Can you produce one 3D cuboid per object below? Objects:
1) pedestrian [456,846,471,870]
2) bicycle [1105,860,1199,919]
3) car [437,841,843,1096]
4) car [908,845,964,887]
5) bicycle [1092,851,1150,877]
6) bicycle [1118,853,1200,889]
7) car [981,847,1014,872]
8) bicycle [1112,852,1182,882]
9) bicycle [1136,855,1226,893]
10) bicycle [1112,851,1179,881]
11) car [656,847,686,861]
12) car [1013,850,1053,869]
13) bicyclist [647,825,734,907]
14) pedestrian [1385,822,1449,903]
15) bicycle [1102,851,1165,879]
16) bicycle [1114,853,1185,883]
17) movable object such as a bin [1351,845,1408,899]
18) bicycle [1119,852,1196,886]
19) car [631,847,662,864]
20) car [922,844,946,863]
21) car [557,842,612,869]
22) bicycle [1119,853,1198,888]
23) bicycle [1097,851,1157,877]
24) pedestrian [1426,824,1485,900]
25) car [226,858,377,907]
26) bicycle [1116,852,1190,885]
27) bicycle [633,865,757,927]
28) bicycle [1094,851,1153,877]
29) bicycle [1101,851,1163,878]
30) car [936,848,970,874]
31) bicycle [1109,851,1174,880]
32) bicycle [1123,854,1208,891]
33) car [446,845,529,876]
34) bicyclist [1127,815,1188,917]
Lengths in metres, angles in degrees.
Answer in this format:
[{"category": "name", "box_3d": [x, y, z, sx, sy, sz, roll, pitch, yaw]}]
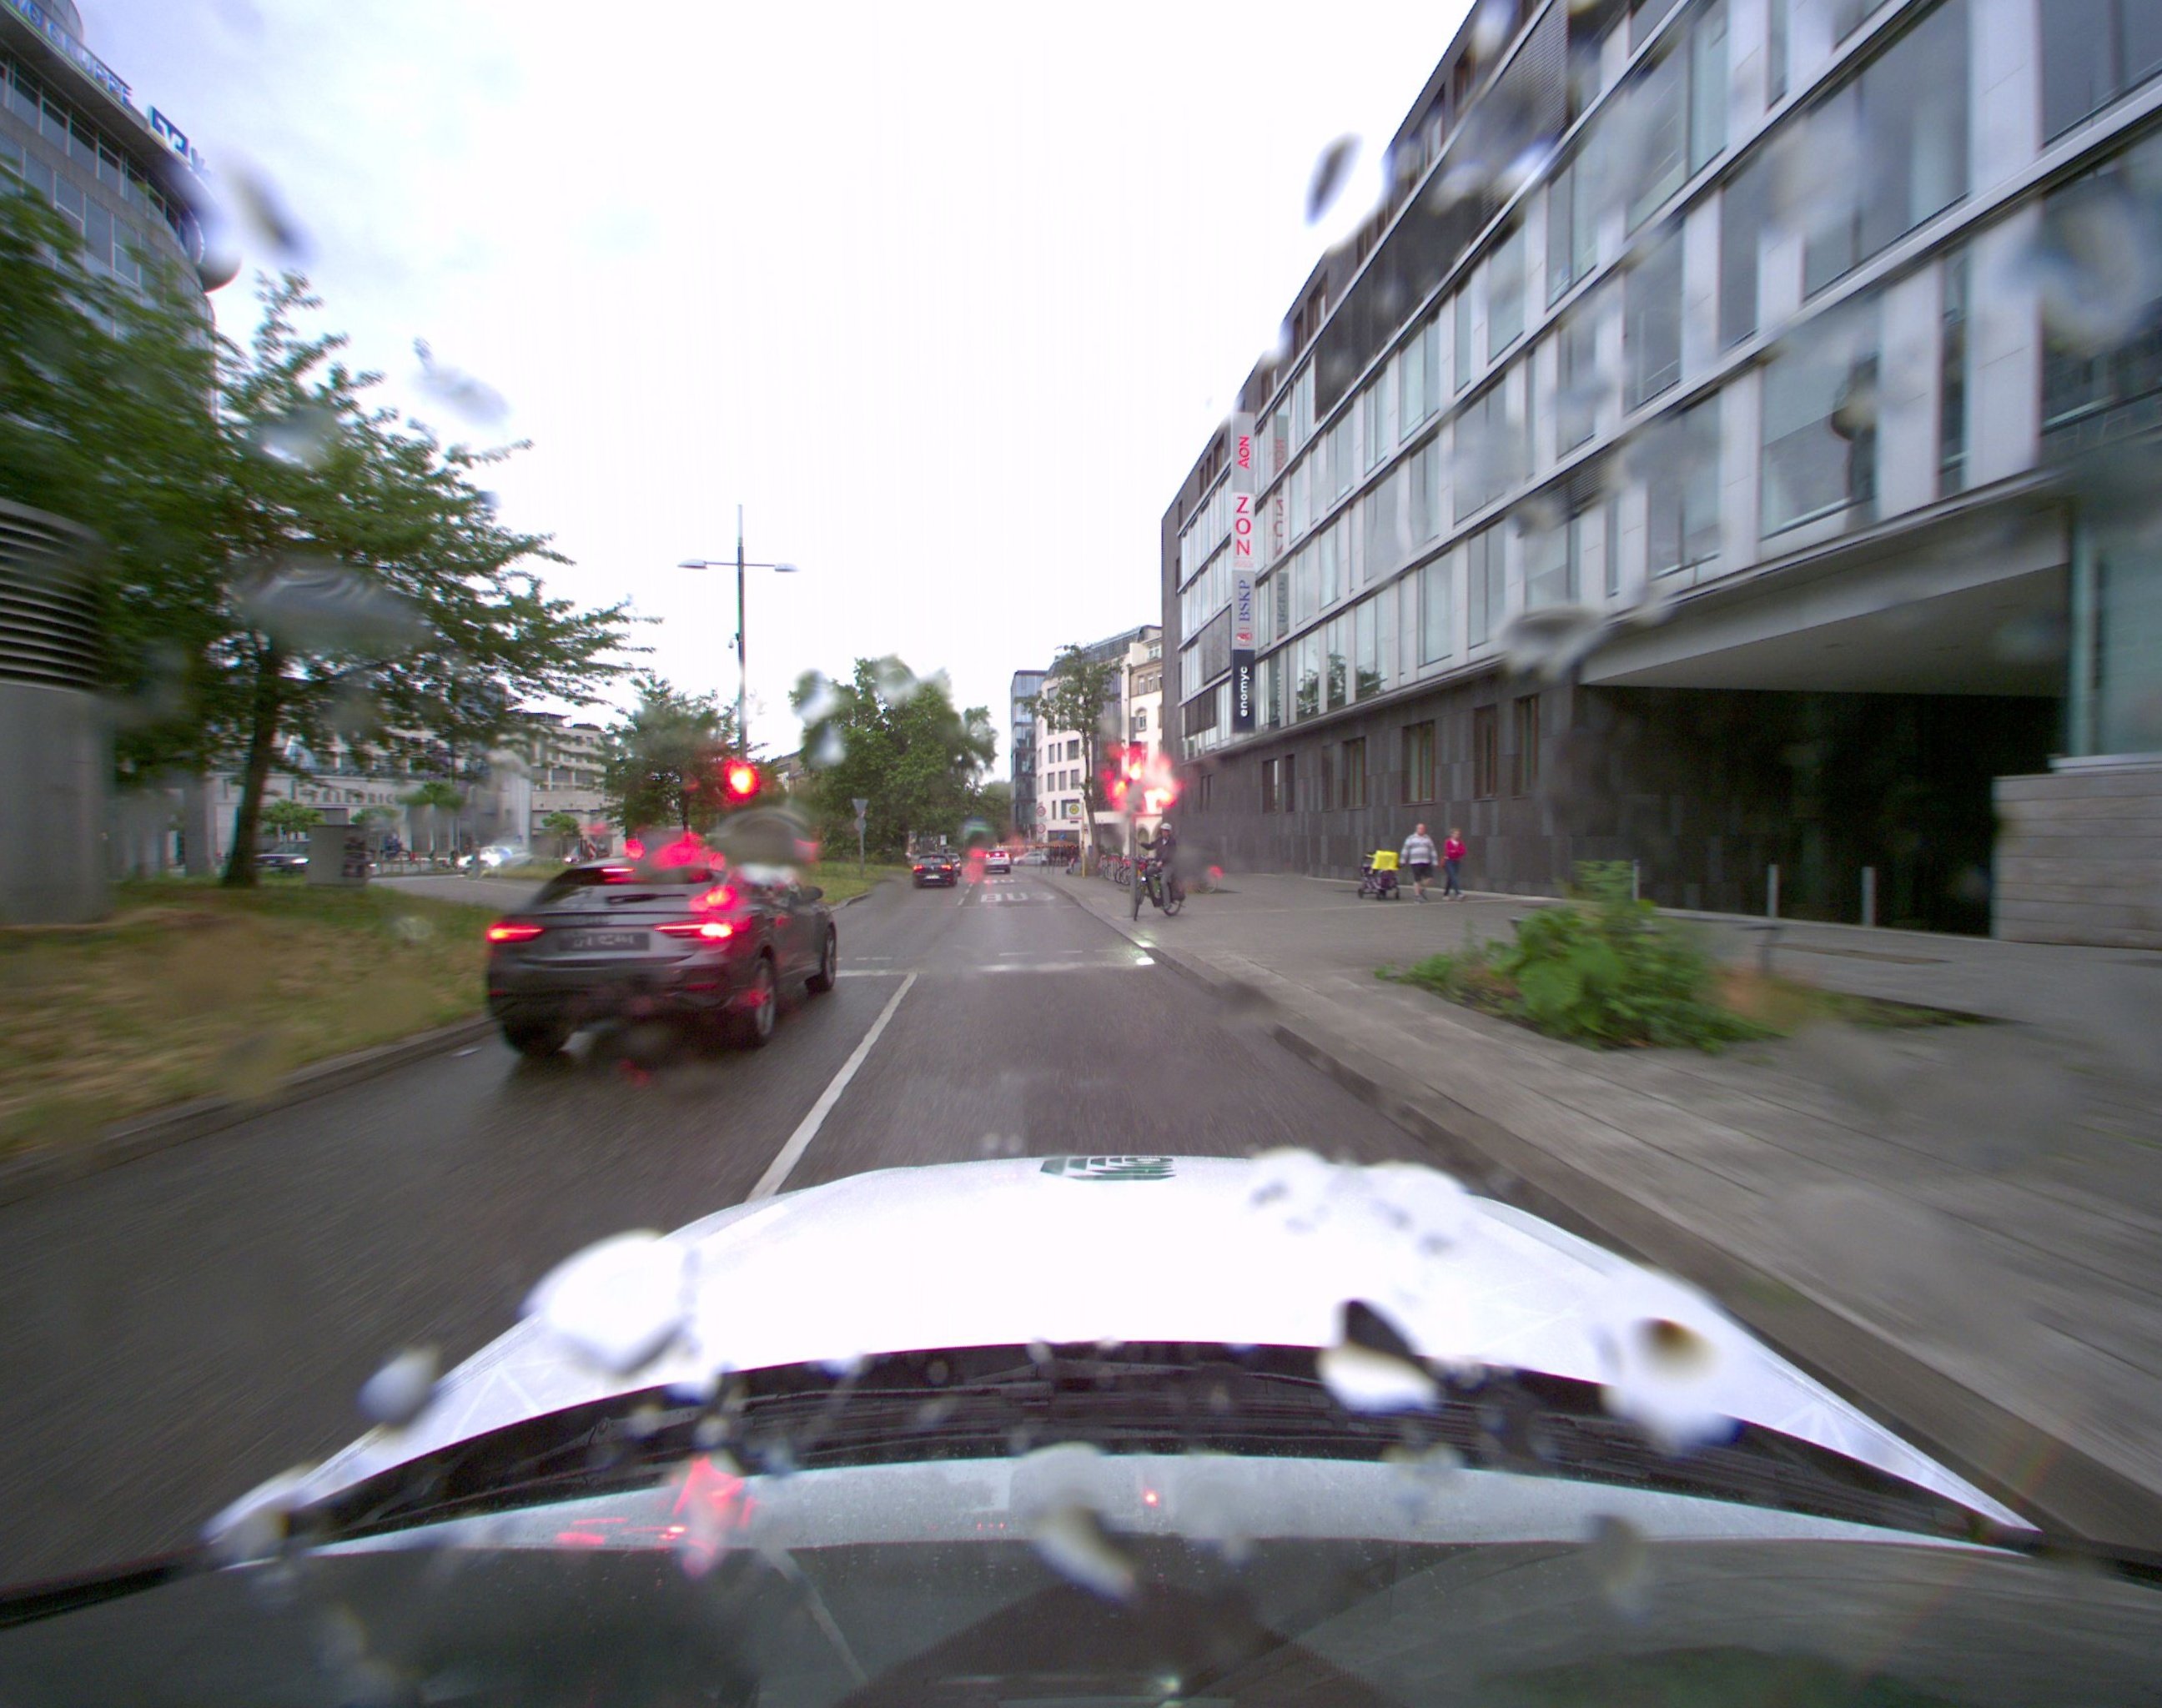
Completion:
[{"category": "pedestrian", "box_3d": [-46.446, 0.311, 61.254, 0.623, 1.763, 0.720, -3, 1, -24]}, {"category": "bicycle", "box_3d": [1.529, 0.715, 17.212, 0.753, 1.145, 2.145, -1, 0, 44]}, {"category": "car", "box_3d": [-3.444, 0.695, 7.399, 1.846, 1.616, 4.241, 0, 1, -8]}, {"category": "car", "box_3d": [-6.311, 0.475, 35.892, 2.160, 1.706, 4.543, 0, 0, -7]}, {"category": "bicycle", "box_3d": [1.824, 0.447, 36.936, 2.534, 1.087, 0.625, -1, 0, -8]}, {"category": "bicycle", "box_3d": [2.506, 0.546, 26.179, 2.534, 1.087, 0.675, 1, 0, -8]}, {"category": "car", "box_3d": [-5.923, 0.344, 57.351, 2.177, 1.700, 3.990, 0, 0, -7]}, {"category": "bicycle", "box_3d": [2.487, 0.489, 30.848, 2.534, 1.087, 0.675, -1, 0, -8]}, {"category": "bicycle", "box_3d": [2.934, 0.578, 23.924, 2.534, 1.057, 0.675, -1, 0, -8]}, {"category": "bicycle", "box_3d": [2.514, 0.468, 32.048, 2.534, 1.087, 0.675, -1, 0, -8]}, {"category": "car", "box_3d": [-43.642, 0.008, 86.850, 1.806, 1.486, 4.364, 1, 0, -13]}, {"category": "car", "box_3d": [-4.926, 0.546, 83.585, 3.982, 1.647, 1.996, 4, 0, -6]}, {"category": "bicyclist", "box_3d": [-7.914, 0.228, 16.542, 1.123, 1.582, 1.019, 2, 0, 17]}, {"category": "pedestrian", "box_3d": [7.802, 0.181, 18.937, 0.899, 1.792, 1.044, -3, 1, -9]}, {"category": "bicycle", "box_3d": [2.165, 0.462, 33.845, 2.534, 1.087, 0.675, -1, 0, -8]}, {"category": "bicycle", "box_3d": [2.508, 0.508, 29.940, 2.534, 1.060, 0.675, -1, 0, -8]}, {"category": "movable object such as a bin", "box_3d": [7.455, 0.428, 20.384, 0.730, 1.264, 1.441, -3, 1, -6]}, {"category": "bicycle", "box_3d": [2.650, 0.516, 28.270, 2.534, 1.087, 0.675, -1, 0, -8]}, {"category": "car", "box_3d": [-39.090, 0.137, 73.354, 1.810, 1.486, 3.975, 1, 0, -19]}, {"category": "car", "box_3d": [-13.641, -0.062, 75.336, 1.948, 1.646, 3.982, 0, 0, -14]}, {"category": "car", "box_3d": [-33.354, 0.082, 54.833, 1.726, 1.727, 4.564, 0, 0, -12]}, {"category": "bicycle", "box_3d": [2.598, 0.541, 27.412, 2.534, 1.087, 0.675, -1, 0, -8]}, {"category": "bicycle", "box_3d": [1.986, 0.430, 35.476, 2.534, 1.087, 0.675, -1, 0, -8]}, {"category": "pedestrian", "box_3d": [8.792, 0.183, 19.142, 0.717, 1.690, 1.097, -3, 1, -8]}, {"category": "car", "box_3d": [-26.198, 0.906, 27.581, 1.869, 1.475, 3.984, 0, 0, -12]}, {"category": "bicycle", "box_3d": [2.549, 0.509, 29.075, 2.534, 1.087, 0.675, -1, 0, -8]}, {"category": "bicycle", "box_3d": [-7.797, 0.822, 16.484, 2.045, 1.114, 1.016, 2, 0, 16]}, {"category": "bicycle", "box_3d": [1.899, 0.440, 36.218, 2.534, 1.087, 0.675, -1, 0, -8]}, {"category": "bicycle", "box_3d": [2.158, 0.443, 34.597, 2.534, 1.087, 0.675, -1, 0, -8]}, {"category": "car", "box_3d": [-8.347, 0.424, 53.384, 1.943, 1.646, 4.236, 0, 0, -6]}, {"category": "bicycle", "box_3d": [2.450, 0.463, 33.023, 2.534, 1.087, 0.675, -1, 0, -8]}, {"category": "bicycle", "box_3d": [2.627, 0.566, 25.383, 2.534, 1.087, 0.675, -1, 0, -8]}, {"category": "car", "box_3d": [-29.805, 0.309, 41.063, 1.821, 1.475, 4.176, 0, 0, -12]}, {"category": "bicyclist", "box_3d": [1.632, 0.247, 17.339, 0.753, 2.083, 1.091, -1, 0, 44]}]
